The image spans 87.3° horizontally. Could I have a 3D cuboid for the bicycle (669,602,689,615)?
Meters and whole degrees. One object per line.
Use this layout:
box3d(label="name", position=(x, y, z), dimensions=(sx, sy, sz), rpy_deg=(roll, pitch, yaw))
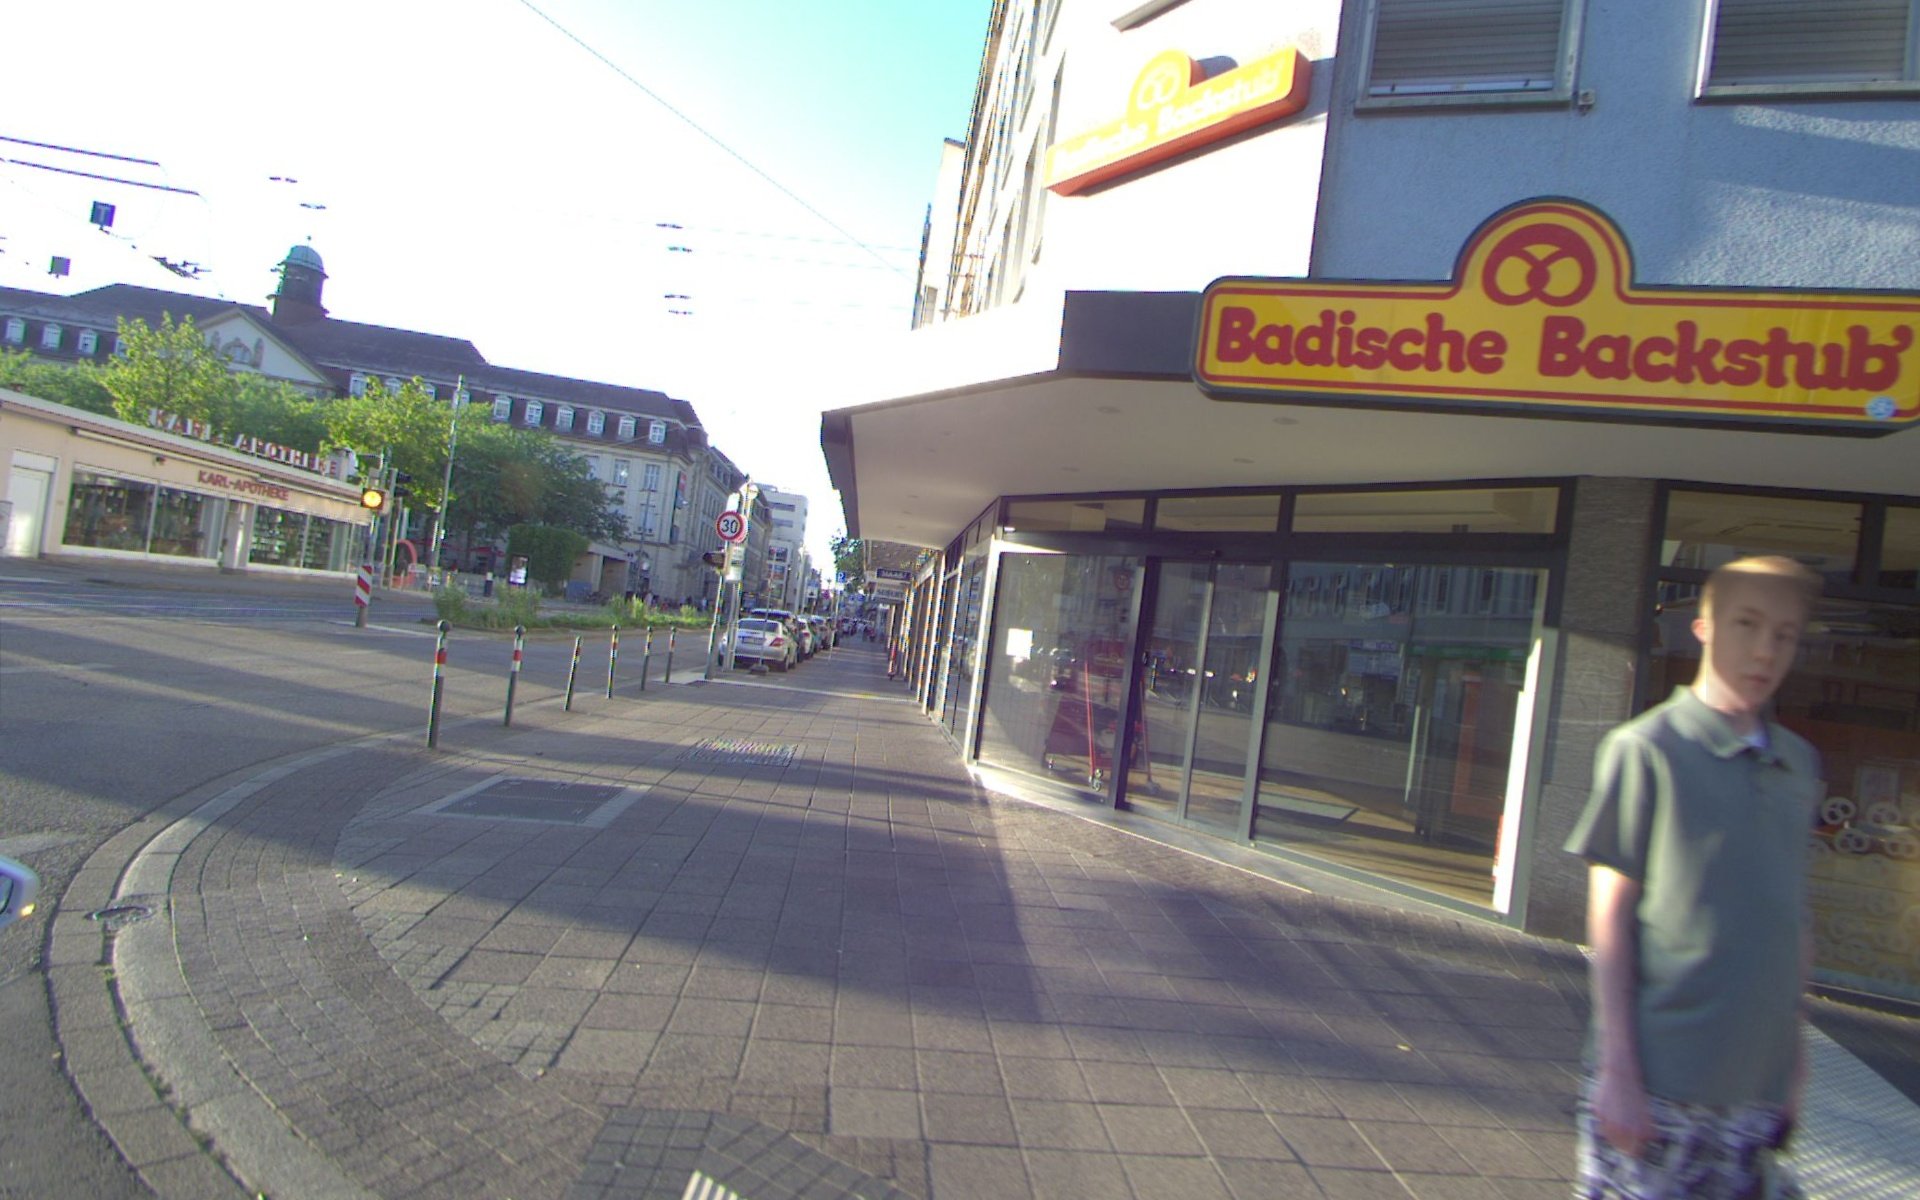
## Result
box3d(label="bicycle", position=(-31.873, 1.014, 114.145), dimensions=(2.069, 1.160, 0.574), rpy_deg=(8, -3, -10))

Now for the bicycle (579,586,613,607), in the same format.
box3d(label="bicycle", position=(-27.462, -0.259, 75.890), dimensions=(2.165, 1.314, 0.580), rpy_deg=(8, -3, -5))

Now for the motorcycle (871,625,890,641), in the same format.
box3d(label="motorcycle", position=(-6.872, 2.827, 87.149), dimensions=(0.560, 1.158, 2.279), rpy_deg=(9, -2, -30))

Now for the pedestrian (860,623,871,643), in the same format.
box3d(label="pedestrian", position=(-8.377, 2.948, 89.327), dimensions=(0.668, 1.736, 0.655), rpy_deg=(7, -3, -2))

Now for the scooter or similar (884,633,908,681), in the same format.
box3d(label="scooter or similar", position=(-1.761, 1.547, 27.476), dimensions=(0.453, 1.197, 1.571), rpy_deg=(7, -1, -5))

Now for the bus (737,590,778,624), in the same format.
box3d(label="bus", position=(-26.513, 1.083, 132.468), dimensions=(2.781, 3.693, 17.071), rpy_deg=(7, -2, -4))

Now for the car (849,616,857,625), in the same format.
box3d(label="car", position=(-25.970, 5.008, 244.641), dimensions=(1.735, 1.846, 3.572), rpy_deg=(7, -4, -5))

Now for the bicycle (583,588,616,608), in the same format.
box3d(label="bicycle", position=(-27.718, -0.155, 77.399), dimensions=(2.209, 1.268, 0.580), rpy_deg=(8, -3, -5))

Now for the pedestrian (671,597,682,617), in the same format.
box3d(label="pedestrian", position=(-28.153, 0.703, 99.985), dimensions=(0.683, 1.867, 0.662), rpy_deg=(7, -3, -4))

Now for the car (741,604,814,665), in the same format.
box3d(label="car", position=(-5.763, 1.088, 32.221), dimensions=(1.739, 1.623, 4.286), rpy_deg=(8, -2, -5))

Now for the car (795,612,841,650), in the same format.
box3d(label="car", position=(-7.298, 1.605, 52.027), dimensions=(1.790, 1.603, 4.723), rpy_deg=(8, -2, -3))

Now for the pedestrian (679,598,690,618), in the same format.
box3d(label="pedestrian", position=(-27.419, 0.819, 100.269), dimensions=(0.722, 1.861, 0.715), rpy_deg=(7, -2, -4))

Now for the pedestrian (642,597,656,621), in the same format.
box3d(label="pedestrian", position=(-26.515, 0.761, 85.794), dimensions=(0.713, 1.955, 0.793), rpy_deg=(7, -3, -1))

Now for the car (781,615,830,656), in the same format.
box3d(label="car", position=(-7.037, 1.617, 46.220), dimensions=(1.783, 1.569, 4.835), rpy_deg=(8, -2, -5))

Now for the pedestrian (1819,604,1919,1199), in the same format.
box3d(label="pedestrian", position=(2.228, 0.940, 1.814), dimensions=(0.736, 1.794, 0.639), rpy_deg=(7, -1, -2))

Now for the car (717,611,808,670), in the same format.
box3d(label="car", position=(-5.272, 1.103, 27.319), dimensions=(1.649, 1.297, 4.066), rpy_deg=(7, -3, -2))

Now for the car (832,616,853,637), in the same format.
box3d(label="car", position=(-12.891, 2.922, 110.355), dimensions=(1.887, 2.004, 4.421), rpy_deg=(7, -2, -5))

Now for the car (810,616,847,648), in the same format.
box3d(label="car", position=(-7.602, 1.830, 58.606), dimensions=(1.750, 1.557, 4.574), rpy_deg=(8, -1, -5))

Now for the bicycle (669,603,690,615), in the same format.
box3d(label="bicycle", position=(-31.993, 1.042, 114.803), dimensions=(2.049, 1.160, 0.574), rpy_deg=(8, -3, -10))

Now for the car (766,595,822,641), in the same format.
box3d(label="car", position=(-6.291, 0.740, 38.444), dimensions=(1.706, 1.451, 4.153), rpy_deg=(7, -3, -6))

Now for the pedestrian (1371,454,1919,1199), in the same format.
box3d(label="pedestrian", position=(1.329, 0.724, 1.866), dimensions=(0.737, 1.794, 0.585), rpy_deg=(7, -1, -12))
